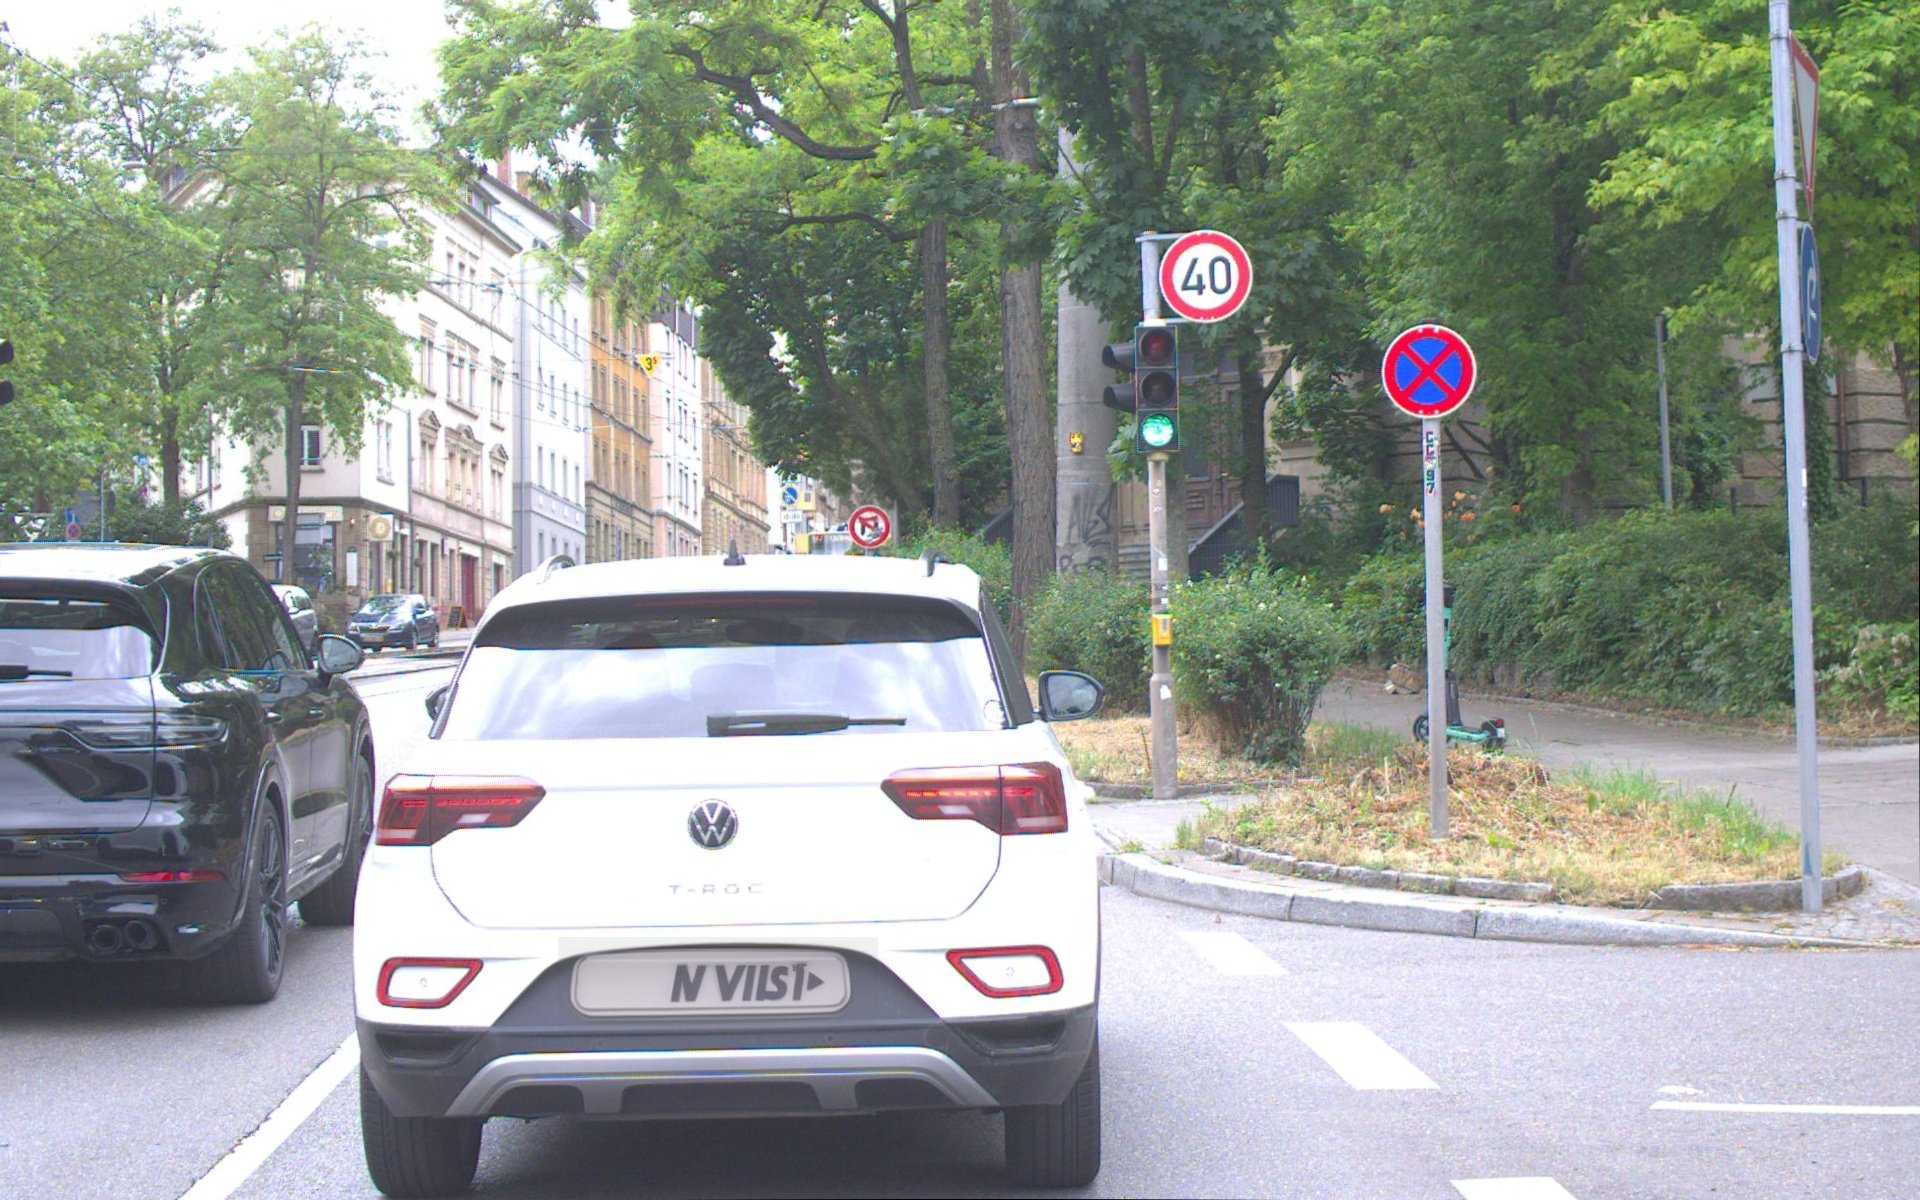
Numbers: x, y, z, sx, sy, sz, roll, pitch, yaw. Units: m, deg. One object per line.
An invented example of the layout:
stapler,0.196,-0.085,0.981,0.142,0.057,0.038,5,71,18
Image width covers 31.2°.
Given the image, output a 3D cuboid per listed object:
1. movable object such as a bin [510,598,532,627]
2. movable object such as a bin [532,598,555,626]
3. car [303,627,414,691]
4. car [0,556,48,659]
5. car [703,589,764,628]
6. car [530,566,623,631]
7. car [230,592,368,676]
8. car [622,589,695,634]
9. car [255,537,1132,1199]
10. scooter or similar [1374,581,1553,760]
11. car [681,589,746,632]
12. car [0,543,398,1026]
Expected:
movable object such as a bin,-16.145,0.456,126.472,0.687,1.070,0.676,-1,0,5
movable object such as a bin,-15.844,0.445,130.702,0.728,1.070,0.671,-1,0,5
car,-14.293,1.386,81.888,1.766,1.403,4.082,-1,0,2
car,-15.941,0.135,53.394,1.994,1.599,4.609,-1,0,4
car,-9.218,0.338,140.207,1.994,1.547,4.000,-1,0,3
car,-11.838,-0.077,106.464,1.947,1.939,5.002,-1,1,4
car,-13.471,0.678,70.301,1.993,1.612,4.000,-1,0,0
car,-10.609,0.393,121.215,1.994,1.547,4.000,-1,0,3
car,-0.612,0.644,9.442,1.879,1.549,4.000,-1,0,-1
scooter or similar,3.518,0.479,24.151,0.630,1.206,1.558,-1,0,-16
car,-9.324,0.375,130.259,1.994,1.547,4.000,-1,0,3
car,-3.450,0.605,13.383,2.037,1.566,4.358,-1,0,-3
